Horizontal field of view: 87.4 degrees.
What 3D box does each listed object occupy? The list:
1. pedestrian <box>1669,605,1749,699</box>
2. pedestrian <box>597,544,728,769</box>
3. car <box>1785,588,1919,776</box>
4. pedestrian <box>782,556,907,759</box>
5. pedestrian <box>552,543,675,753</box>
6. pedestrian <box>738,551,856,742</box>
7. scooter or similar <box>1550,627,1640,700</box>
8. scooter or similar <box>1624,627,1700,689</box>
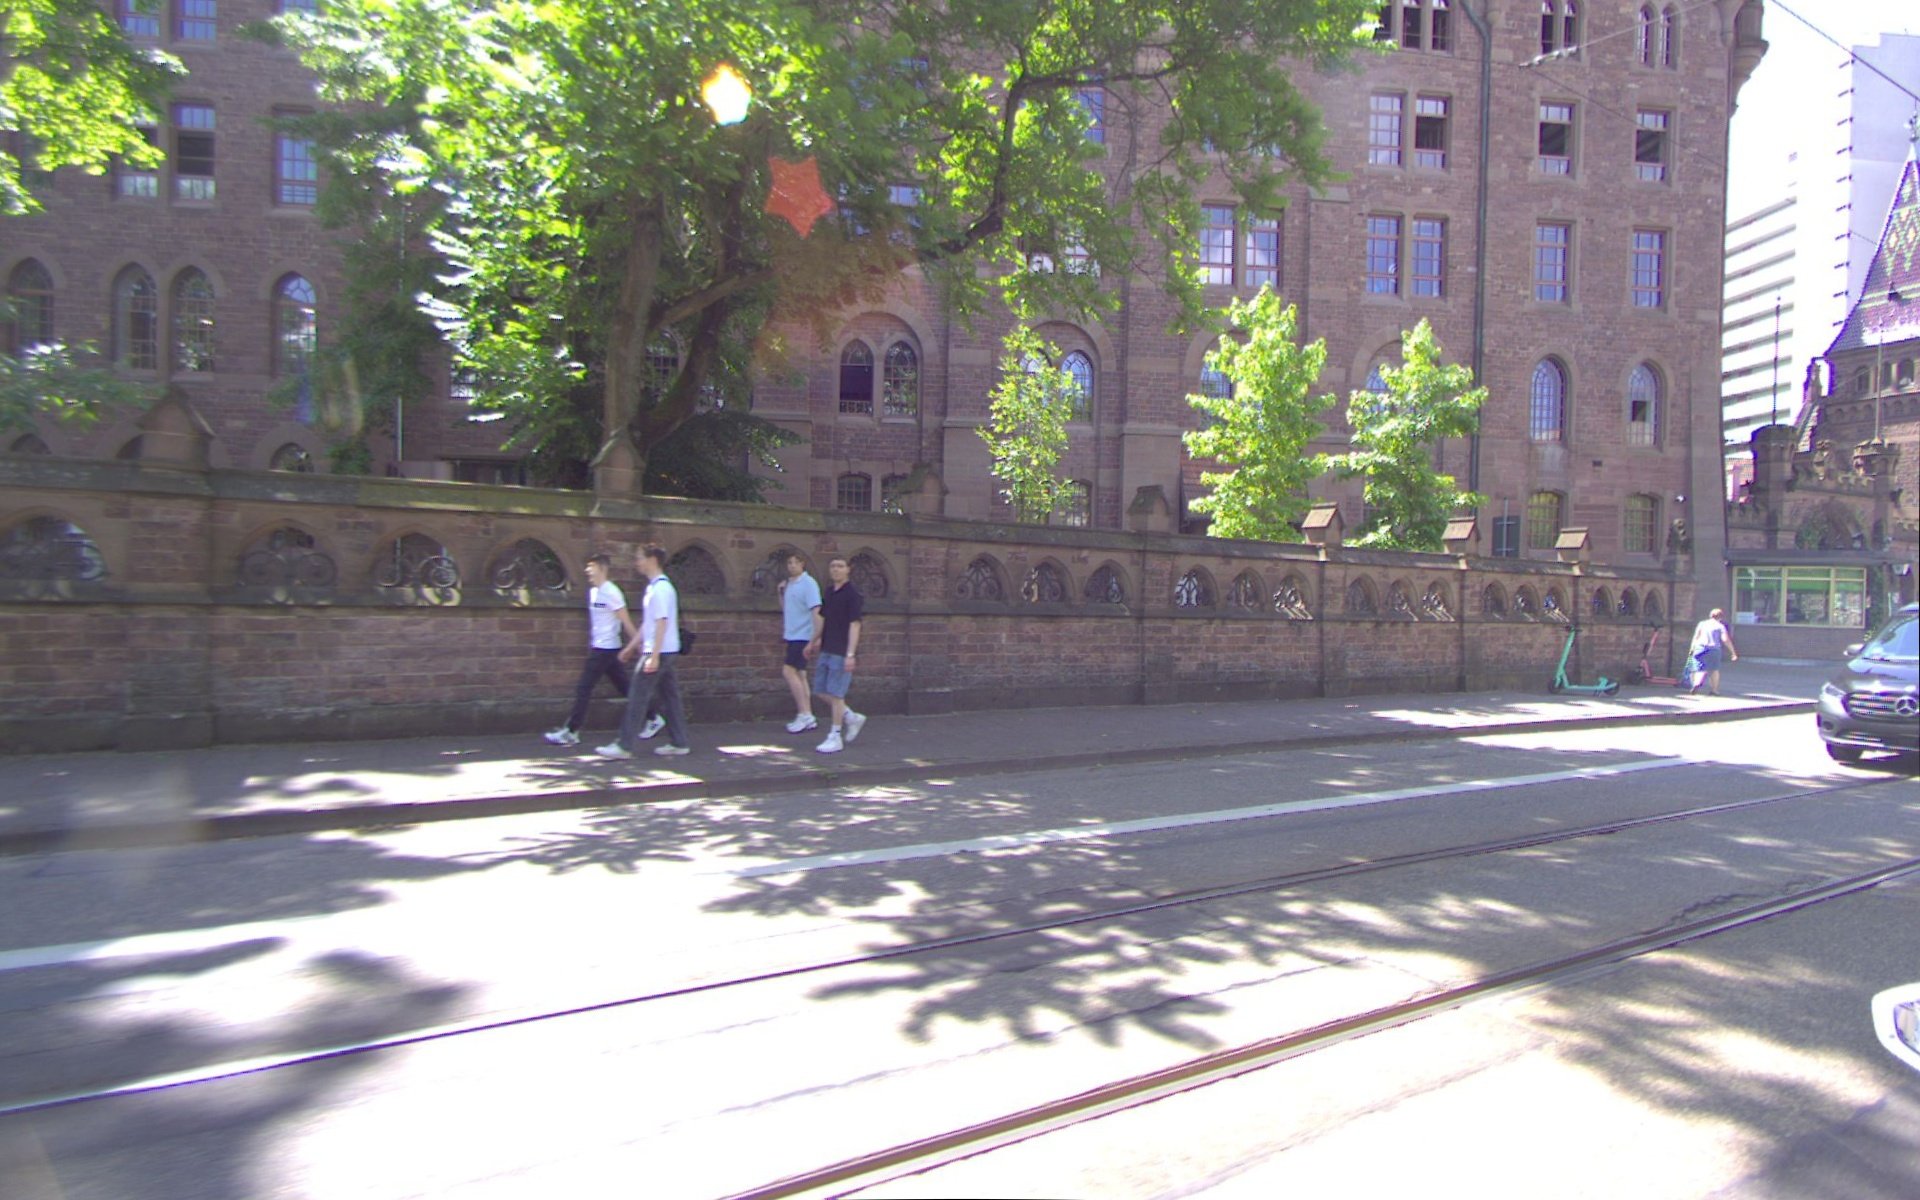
[{"bbox_3d":[13.668,0.926,18.338,0.908,1.610,0.795,1,3,-30],"label":"pedestrian"},{"bbox_3d":[-2.555,0.451,8.606,0.908,1.814,0.674,1,3,-30],"label":"pedestrian"},{"bbox_3d":[11.033,0.834,10.880,4.205,1.812,1.895,1,0,-30],"label":"car"},{"bbox_3d":[-1.078,0.503,9.309,0.908,1.772,0.674,1,3,-30],"label":"pedestrian"},{"bbox_3d":[-3.158,0.410,9.131,0.908,1.800,0.674,1,3,-30],"label":"pedestrian"},{"bbox_3d":[-1.636,0.433,10.027,0.908,1.800,0.749,1,3,-30],"label":"pedestrian"},{"bbox_3d":[10.859,1.073,17.204,1.200,1.142,0.349,3,2,14],"label":"scooter or similar"},{"bbox_3d":[13.547,1.121,19.397,1.199,1.142,0.329,2,1,-1],"label":"scooter or similar"}]
